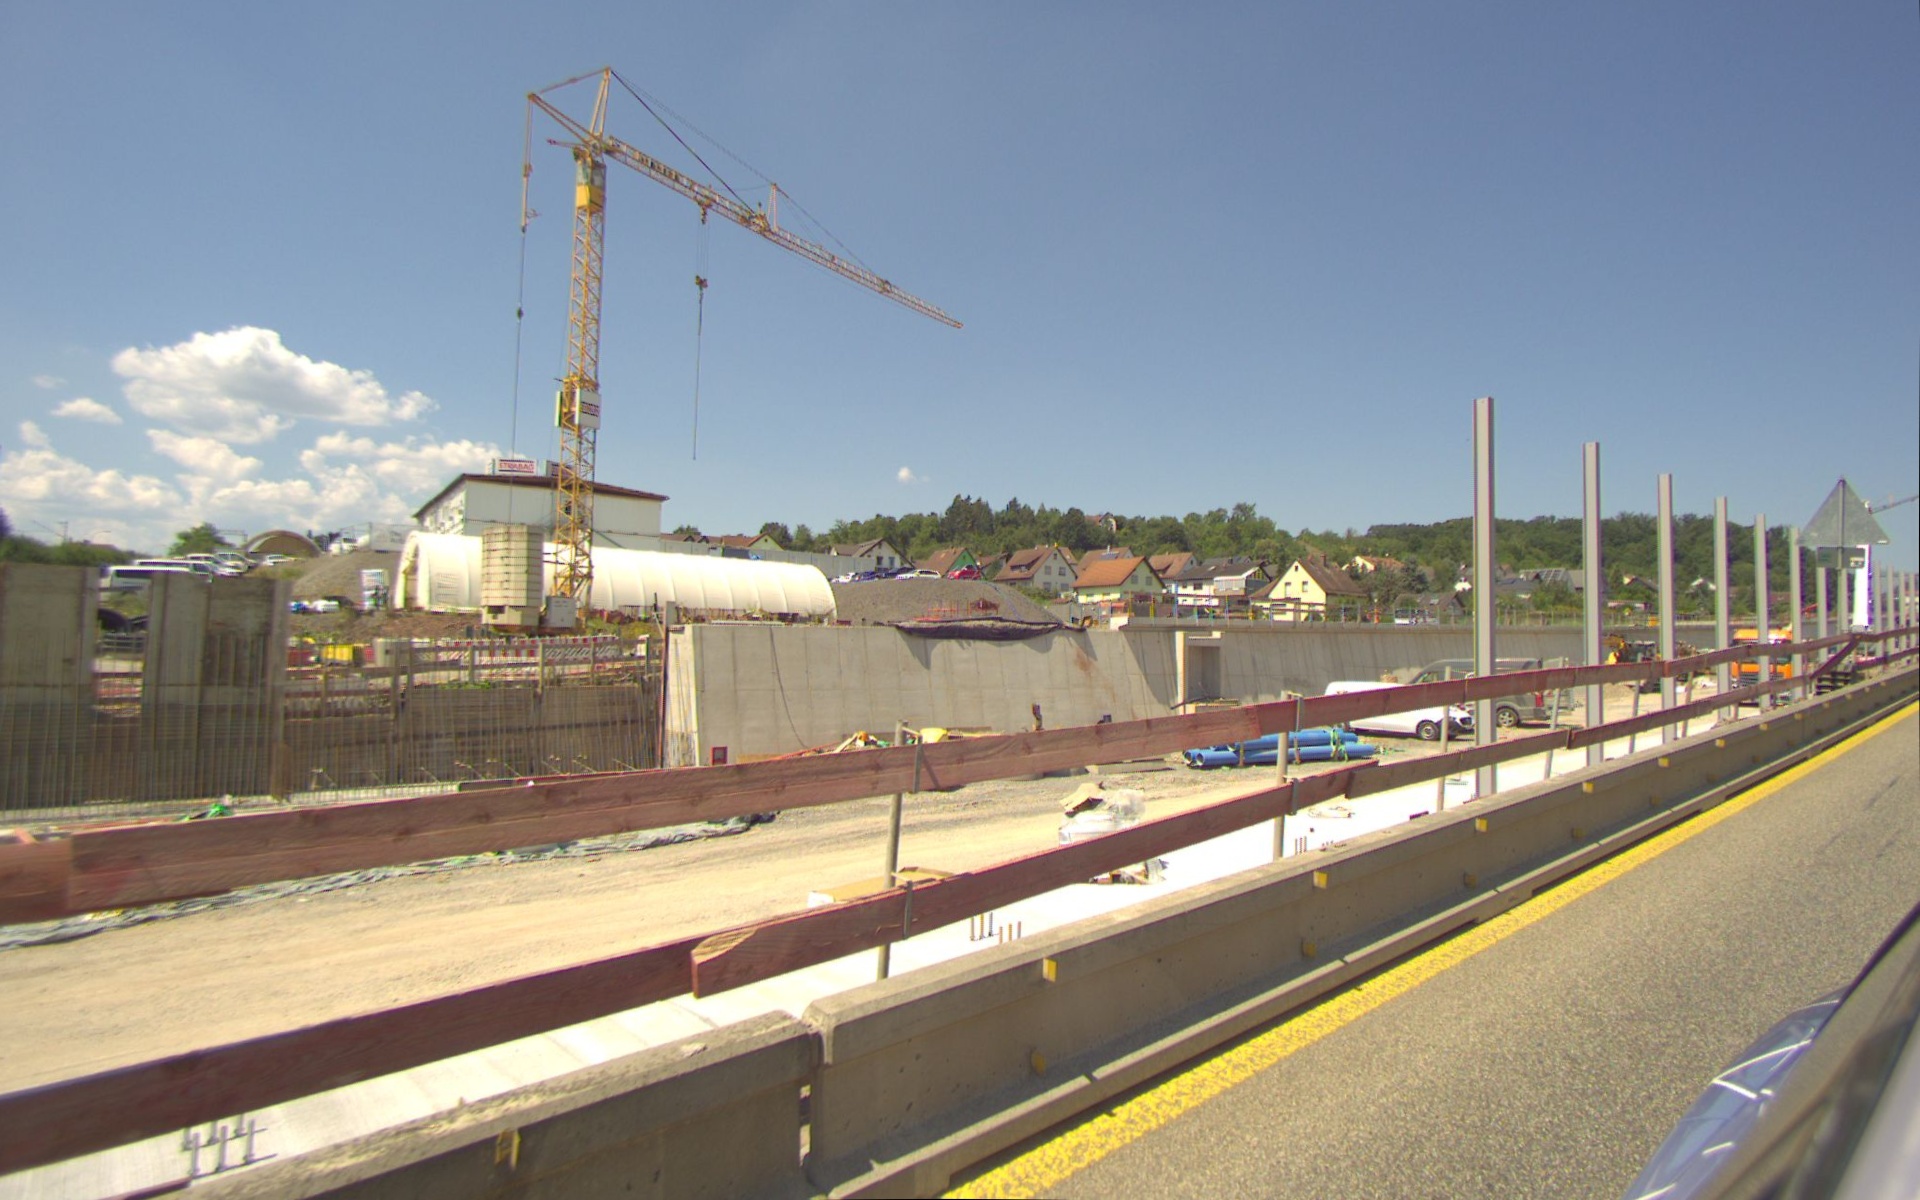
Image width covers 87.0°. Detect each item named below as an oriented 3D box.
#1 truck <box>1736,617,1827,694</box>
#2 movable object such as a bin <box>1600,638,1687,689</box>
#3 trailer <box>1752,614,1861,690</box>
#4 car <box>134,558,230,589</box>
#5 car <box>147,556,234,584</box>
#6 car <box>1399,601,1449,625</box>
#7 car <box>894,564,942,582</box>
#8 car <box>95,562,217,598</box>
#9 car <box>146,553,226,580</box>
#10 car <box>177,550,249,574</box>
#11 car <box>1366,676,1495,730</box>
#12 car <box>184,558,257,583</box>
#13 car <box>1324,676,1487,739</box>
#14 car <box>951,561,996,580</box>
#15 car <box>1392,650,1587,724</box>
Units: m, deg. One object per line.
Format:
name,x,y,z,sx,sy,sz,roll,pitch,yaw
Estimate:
truck,40.255,2.605,49.546,5.341,3.448,2.502,-1,0,-41
movable object such as a bin,42.662,3.880,63.178,3.924,2.820,3.270,-1,0,-35
trailer,45.158,2.578,53.797,12.669,3.394,2.444,-1,0,-41
car,-50.981,-1.723,66.437,4.894,1.984,1.999,-1,0,-37
car,-55.321,-2.135,72.873,4.894,1.984,1.999,-1,0,-37
car,33.703,0.903,73.458,4.527,1.623,1.656,-1,0,-42
car,-3.680,-2.359,89.058,4.141,1.505,1.727,-1,0,-41
car,-46.668,-1.157,58.901,5.468,1.984,1.999,-1,0,-37
car,-59.750,-2.567,78.234,4.894,1.984,1.999,-1,0,-37
car,-64.097,-3.246,86.904,4.894,1.984,1.999,-1,0,-37
car,17.011,3.683,36.699,3.859,1.708,1.666,-3,-2,45
car,-61.738,-2.453,84.558,4.894,1.984,1.999,-1,0,-37
car,14.977,3.564,34.265,1.689,1.792,4.796,1,-3,-40
car,1.083,-2.374,81.426,3.544,1.505,1.544,-1,0,-41
car,20.172,3.319,38.757,6.267,2.616,2.027,-4,-4,36
